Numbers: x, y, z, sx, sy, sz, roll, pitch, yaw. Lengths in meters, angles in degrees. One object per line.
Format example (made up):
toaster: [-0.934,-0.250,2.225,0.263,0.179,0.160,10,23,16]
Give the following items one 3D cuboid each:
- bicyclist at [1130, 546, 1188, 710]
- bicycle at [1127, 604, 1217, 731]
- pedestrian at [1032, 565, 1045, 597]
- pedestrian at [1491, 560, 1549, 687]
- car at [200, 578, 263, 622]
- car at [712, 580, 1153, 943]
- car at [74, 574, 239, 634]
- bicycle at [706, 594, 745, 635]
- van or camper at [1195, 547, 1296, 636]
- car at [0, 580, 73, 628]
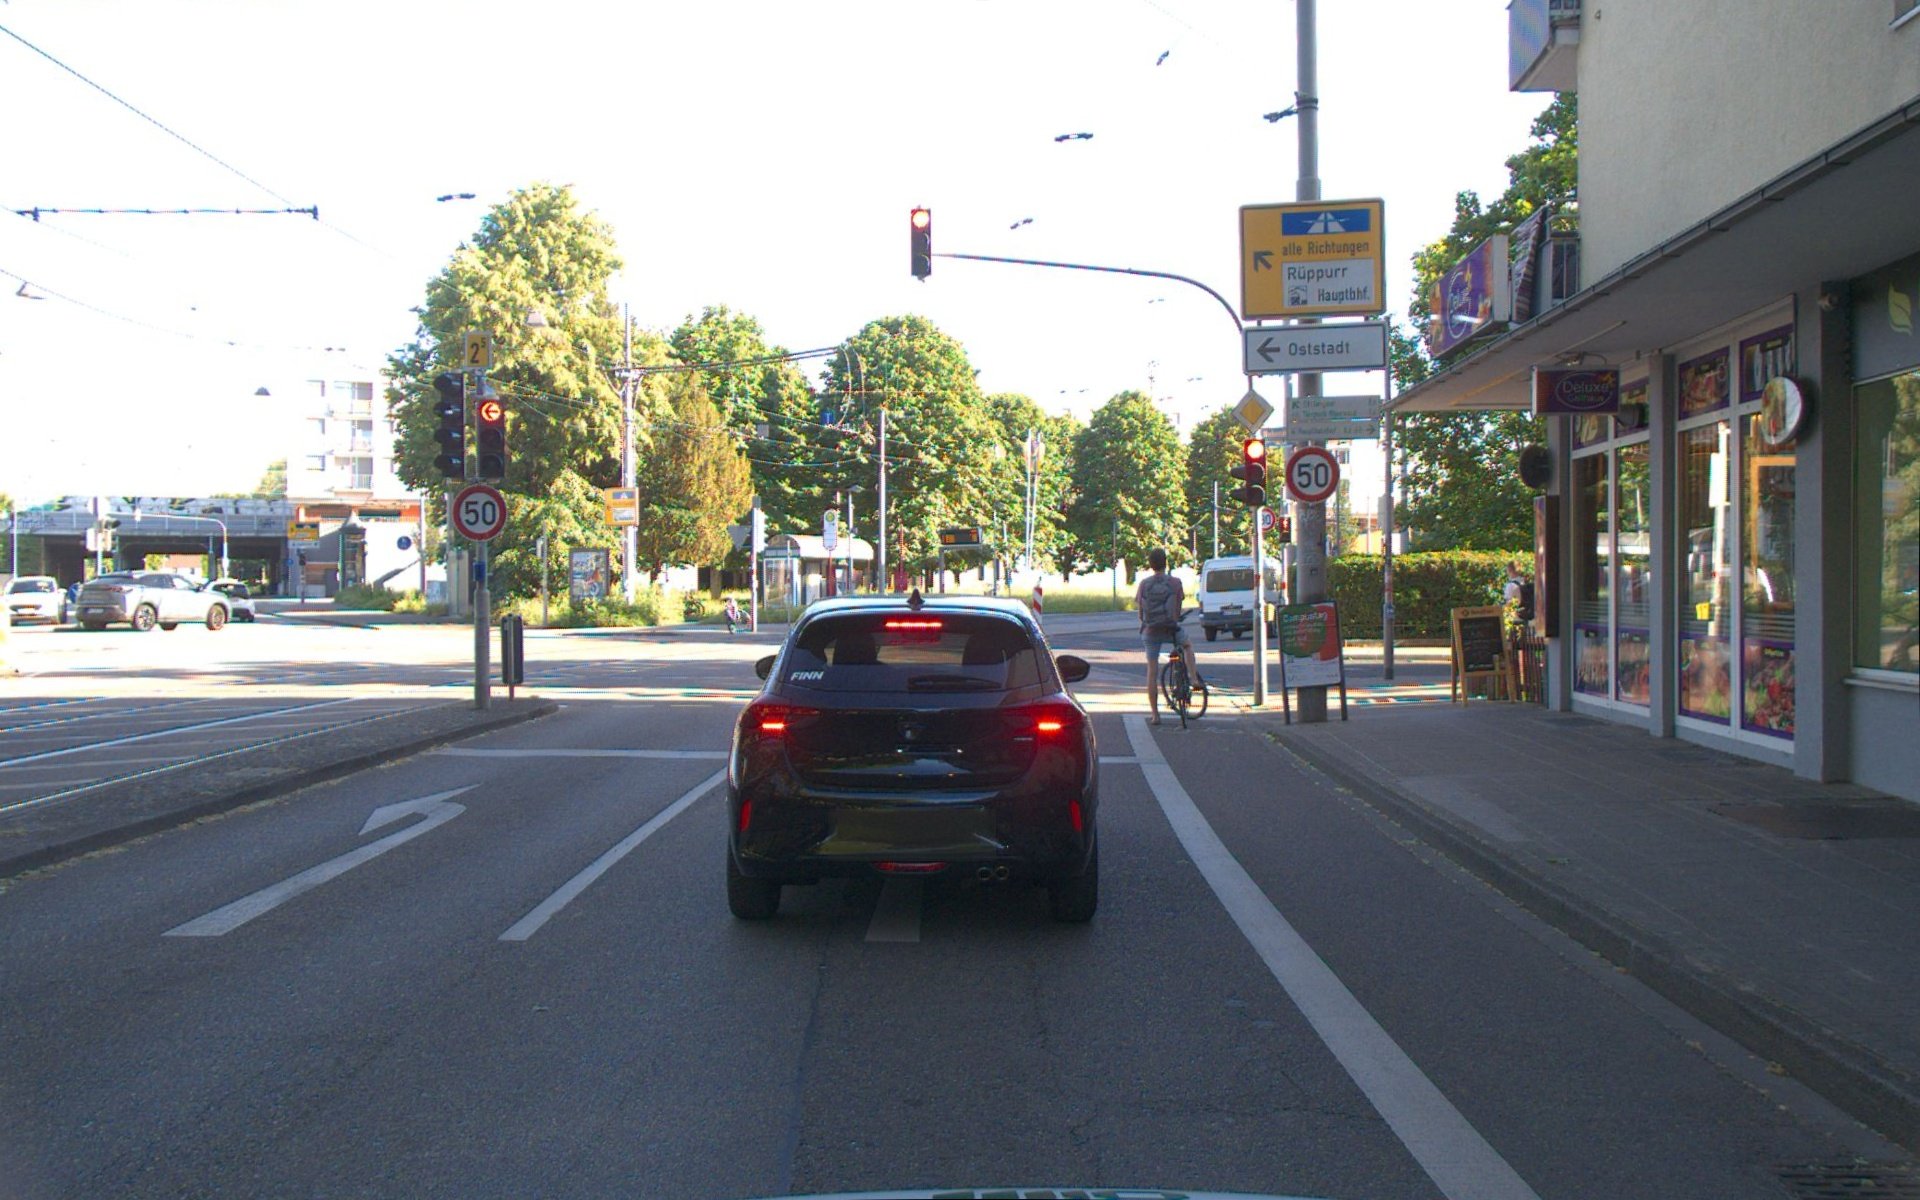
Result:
bicyclist: [2.131,0.295,17.705,0.522,1.722,0.568,0,0,16]
bicycle: [2.319,0.689,17.899,0.737,1.256,2.017,0,1,14]
pedestrian: [4.761,-1.140,100.191,0.600,1.904,0.512,1,-1,-41]
pedestrian: [8.019,0.334,23.714,0.620,1.794,0.582,1,-1,1]
car: [-27.863,0.000,63.168,1.967,1.579,4.160,1,0,-27]
car: [-0.138,0.646,8.786,1.803,1.487,3.983,0,1,-1]
car: [-22.153,0.116,45.803,1.759,1.545,4.209,1,0,15]
bicycle: [-6.532,0.393,46.172,0.780,1.083,2.184,0,1,-1]
van or camper: [8.061,-0.221,46.374,1.987,2.351,4.540,1,0,20]
car: [-32.457,0.135,58.214,1.860,1.613,3.809,1,0,-24]
